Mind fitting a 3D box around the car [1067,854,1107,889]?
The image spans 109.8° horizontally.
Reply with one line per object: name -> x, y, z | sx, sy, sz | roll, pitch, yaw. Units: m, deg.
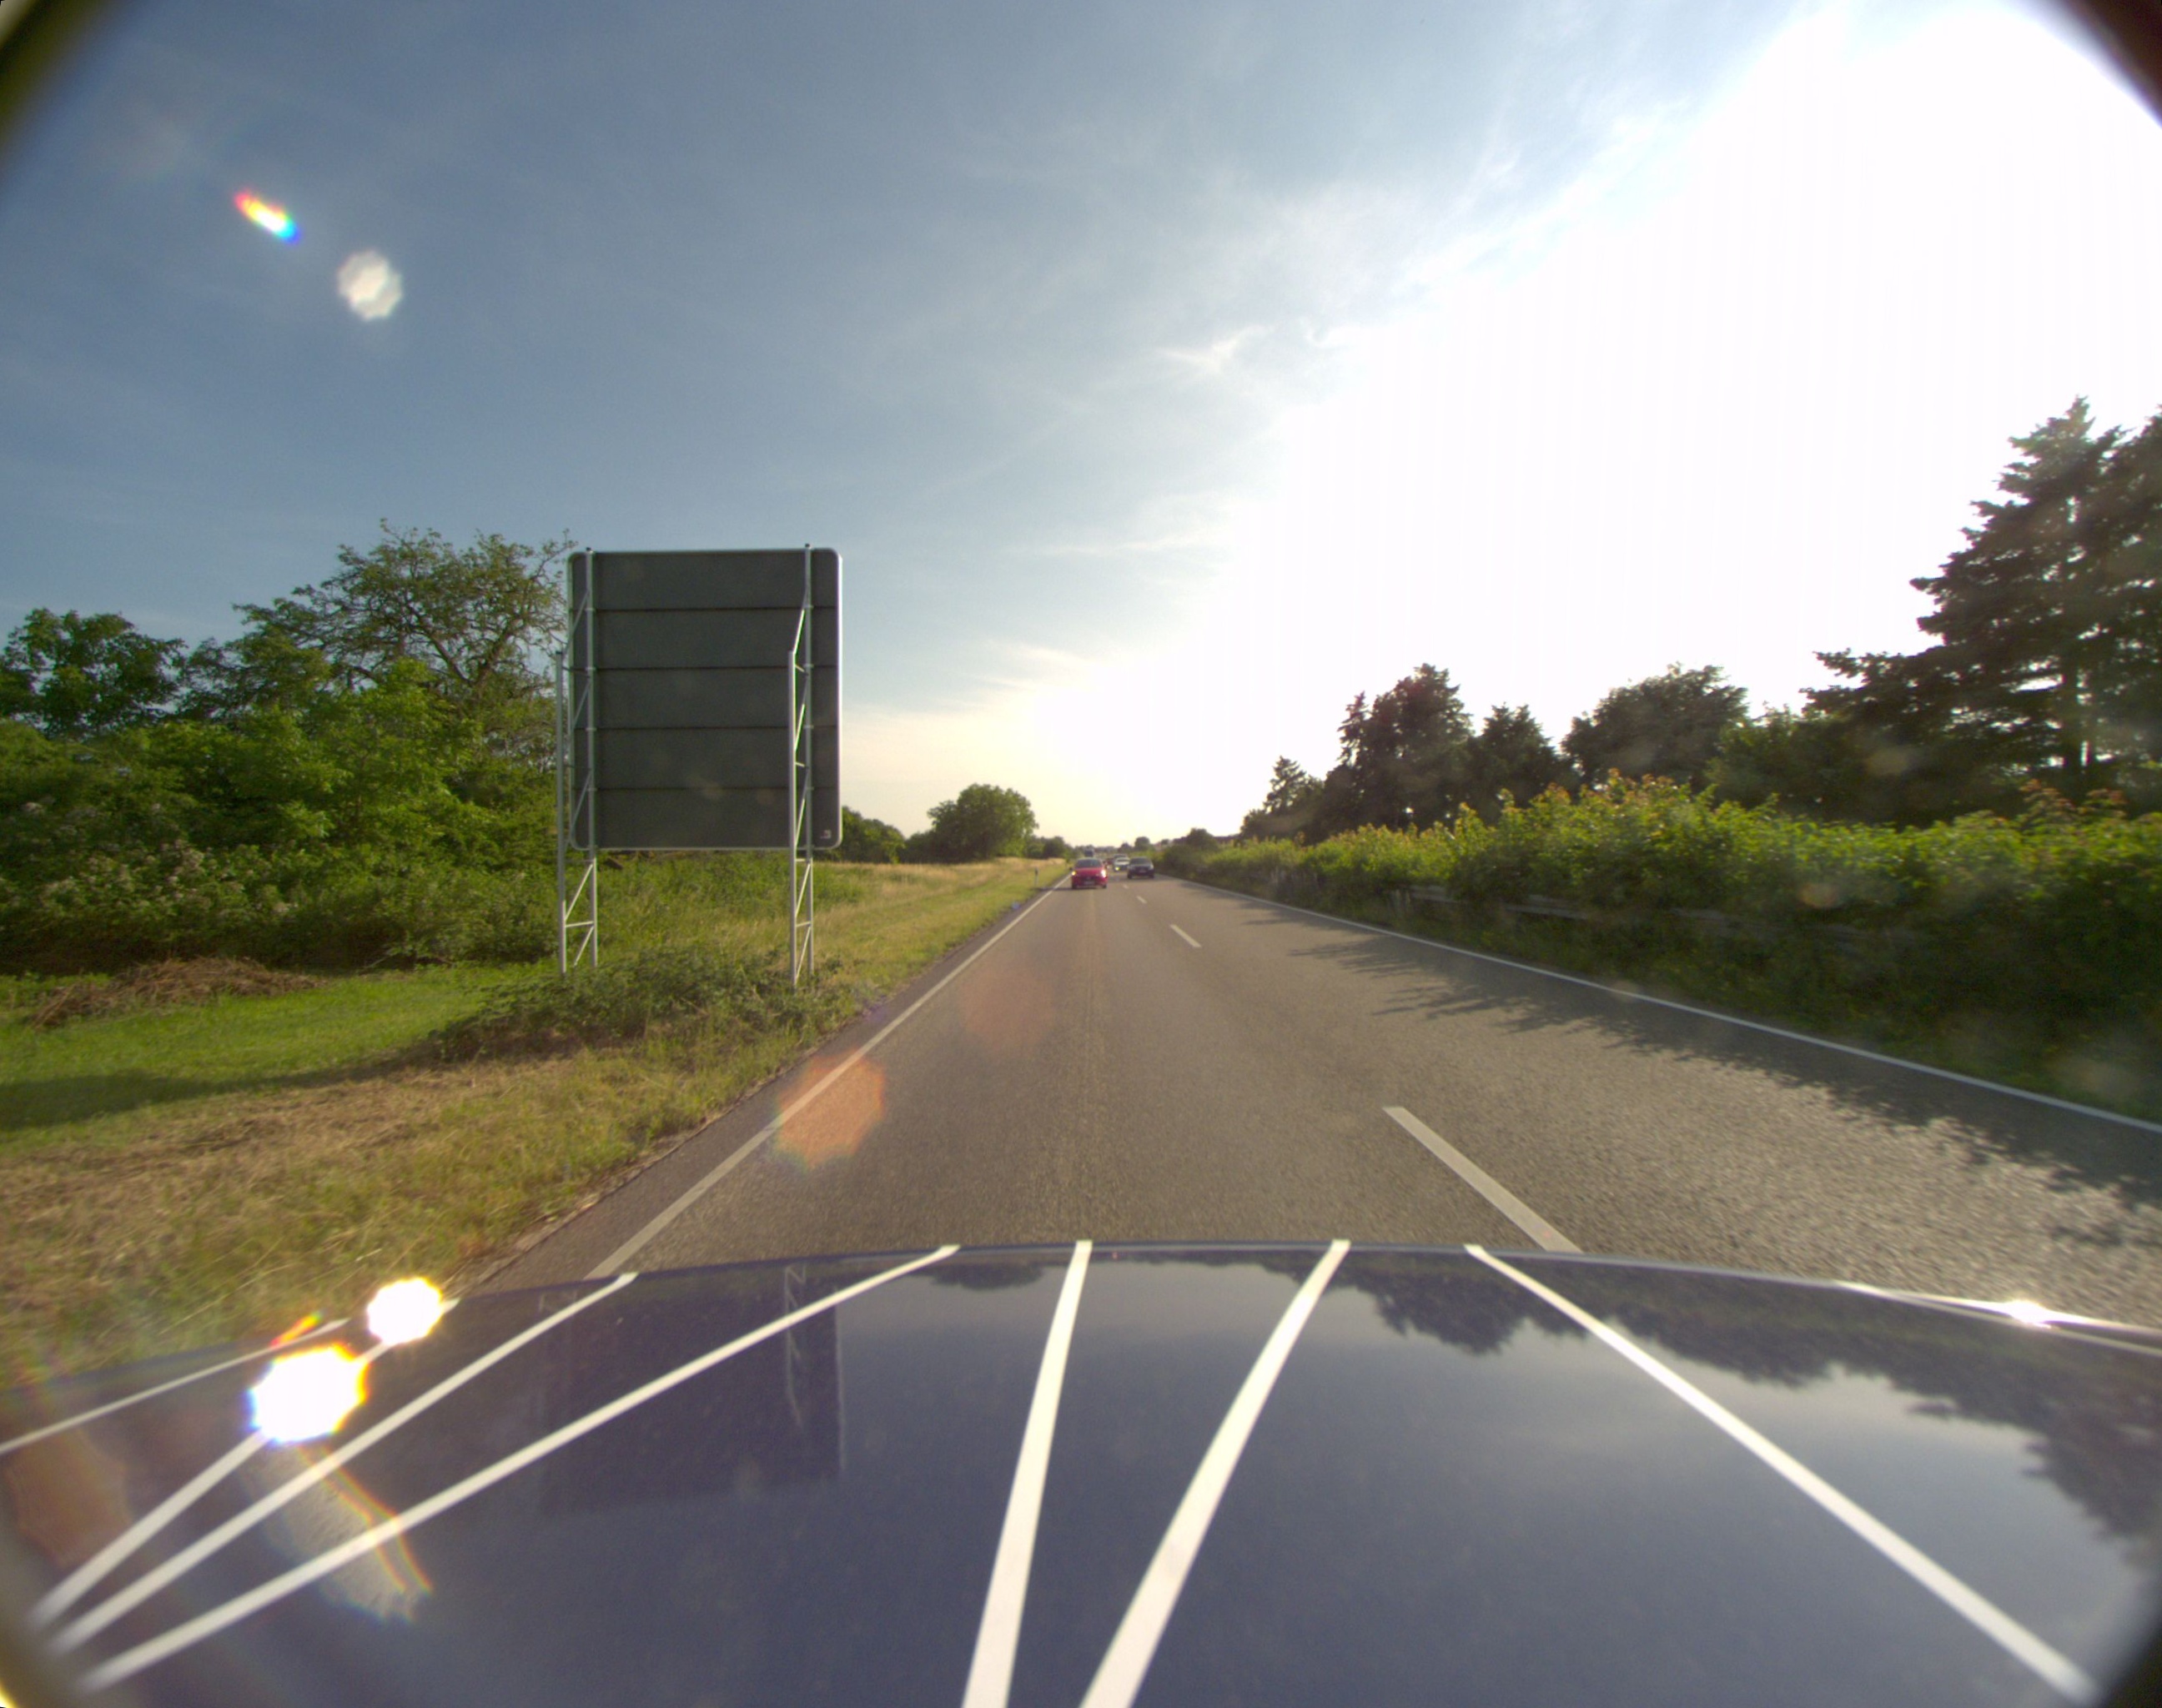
car -> 0.360, 0.832, 37.634 | 1.821, 1.565, 4.000 | -2, 0, 2

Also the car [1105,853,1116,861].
car -> 5.613, 0.644, 143.167 | 1.998, 1.412, 4.000 | -2, 0, 2

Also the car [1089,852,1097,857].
car -> 3.399, 0.112, 212.332 | 1.998, 1.412, 4.000 | -2, 0, 2

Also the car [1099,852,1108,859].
car -> 5.042, 0.398, 171.819 | 1.998, 1.412, 4.000 | -2, 0, 2

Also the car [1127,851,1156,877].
car -> 4.117, 0.636, 52.006 | 1.693, 1.695, 4.000 | -2, 0, 2

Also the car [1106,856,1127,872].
car -> 3.558, 0.988, 76.153 | 1.998, 1.412, 4.000 | -2, 0, 2

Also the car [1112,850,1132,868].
car -> 4.255, 0.477, 79.110 | 1.998, 1.762, 4.000 | -2, 0, 2
